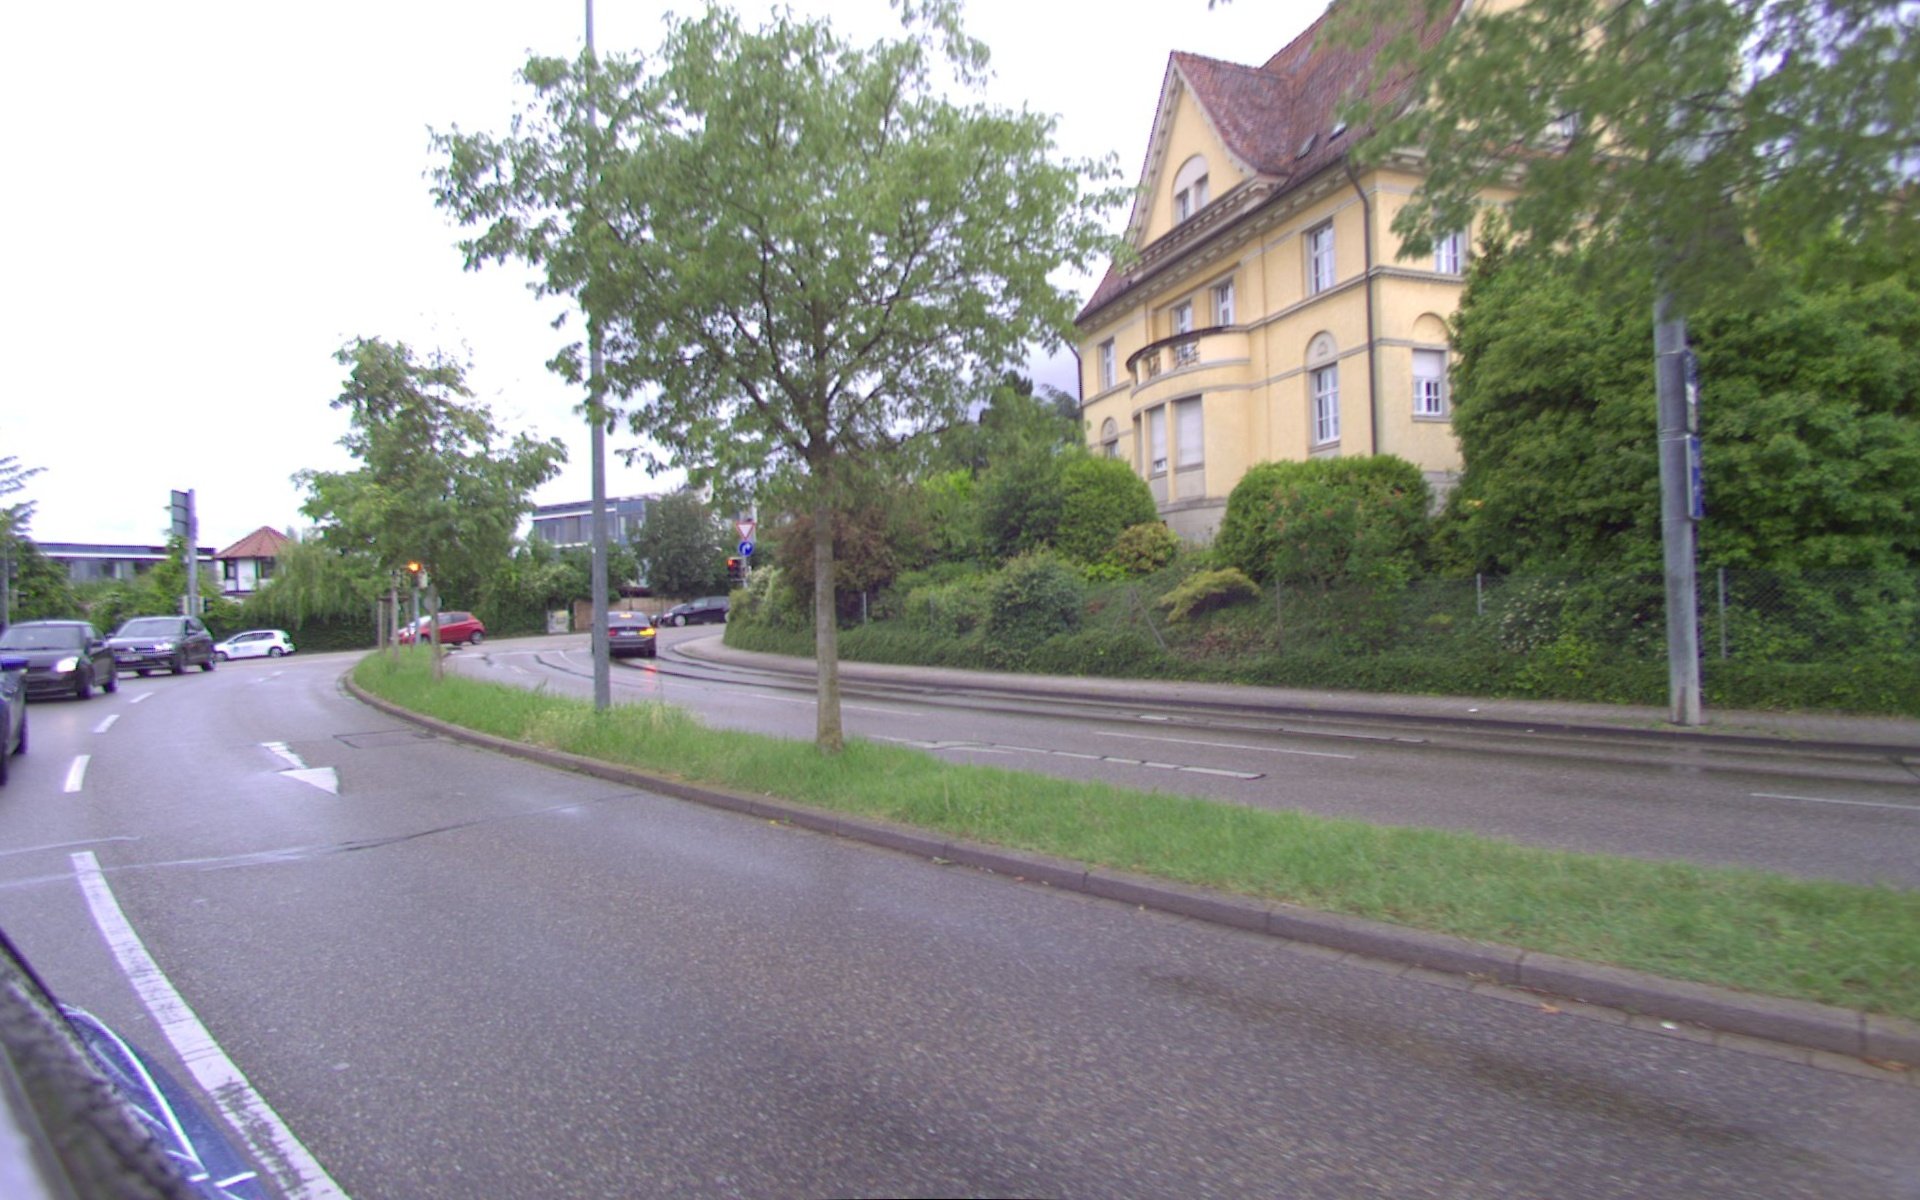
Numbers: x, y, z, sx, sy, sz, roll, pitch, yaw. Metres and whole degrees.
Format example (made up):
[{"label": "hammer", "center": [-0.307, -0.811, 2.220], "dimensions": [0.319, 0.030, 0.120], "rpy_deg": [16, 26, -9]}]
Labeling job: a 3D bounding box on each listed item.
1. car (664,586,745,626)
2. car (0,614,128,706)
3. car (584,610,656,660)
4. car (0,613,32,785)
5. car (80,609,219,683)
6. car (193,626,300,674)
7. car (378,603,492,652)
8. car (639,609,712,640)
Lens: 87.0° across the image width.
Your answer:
[{"label": "car", "center": [-13.464, 0.346, 53.274], "dimensions": [3.933, 1.739, 1.874], "rpy_deg": [-5, 0, -17]}, {"label": "car", "center": [-17.820, 1.175, 19.772], "dimensions": [1.718, 1.530, 4.012], "rpy_deg": [-5, 0, -31]}, {"label": "car", "center": [-10.998, 1.111, 32.553], "dimensions": [1.965, 1.448, 4.562], "rpy_deg": [-1, -1, -21]}, {"label": "car", "center": [-10.127, 0.918, 9.457], "dimensions": [1.884, 1.507, 4.356], "rpy_deg": [-1, -1, -40]}, {"label": "car", "center": [-22.508, 1.261, 28.307], "dimensions": [1.935, 1.763, 4.321], "rpy_deg": [-5, 0, -24]}, {"label": "car", "center": [-36.455, 2.545, 51.833], "dimensions": [3.932, 2.028, 2.006], "rpy_deg": [-5, 0, -19]}, {"label": "car", "center": [-22.897, 1.178, 44.234], "dimensions": [1.862, 1.739, 3.960], "rpy_deg": [-5, 0, 30]}, {"label": "car", "center": [-16.539, 1.390, 58.803], "dimensions": [3.931, 1.683, 2.006], "rpy_deg": [-1, 0, -20]}]
